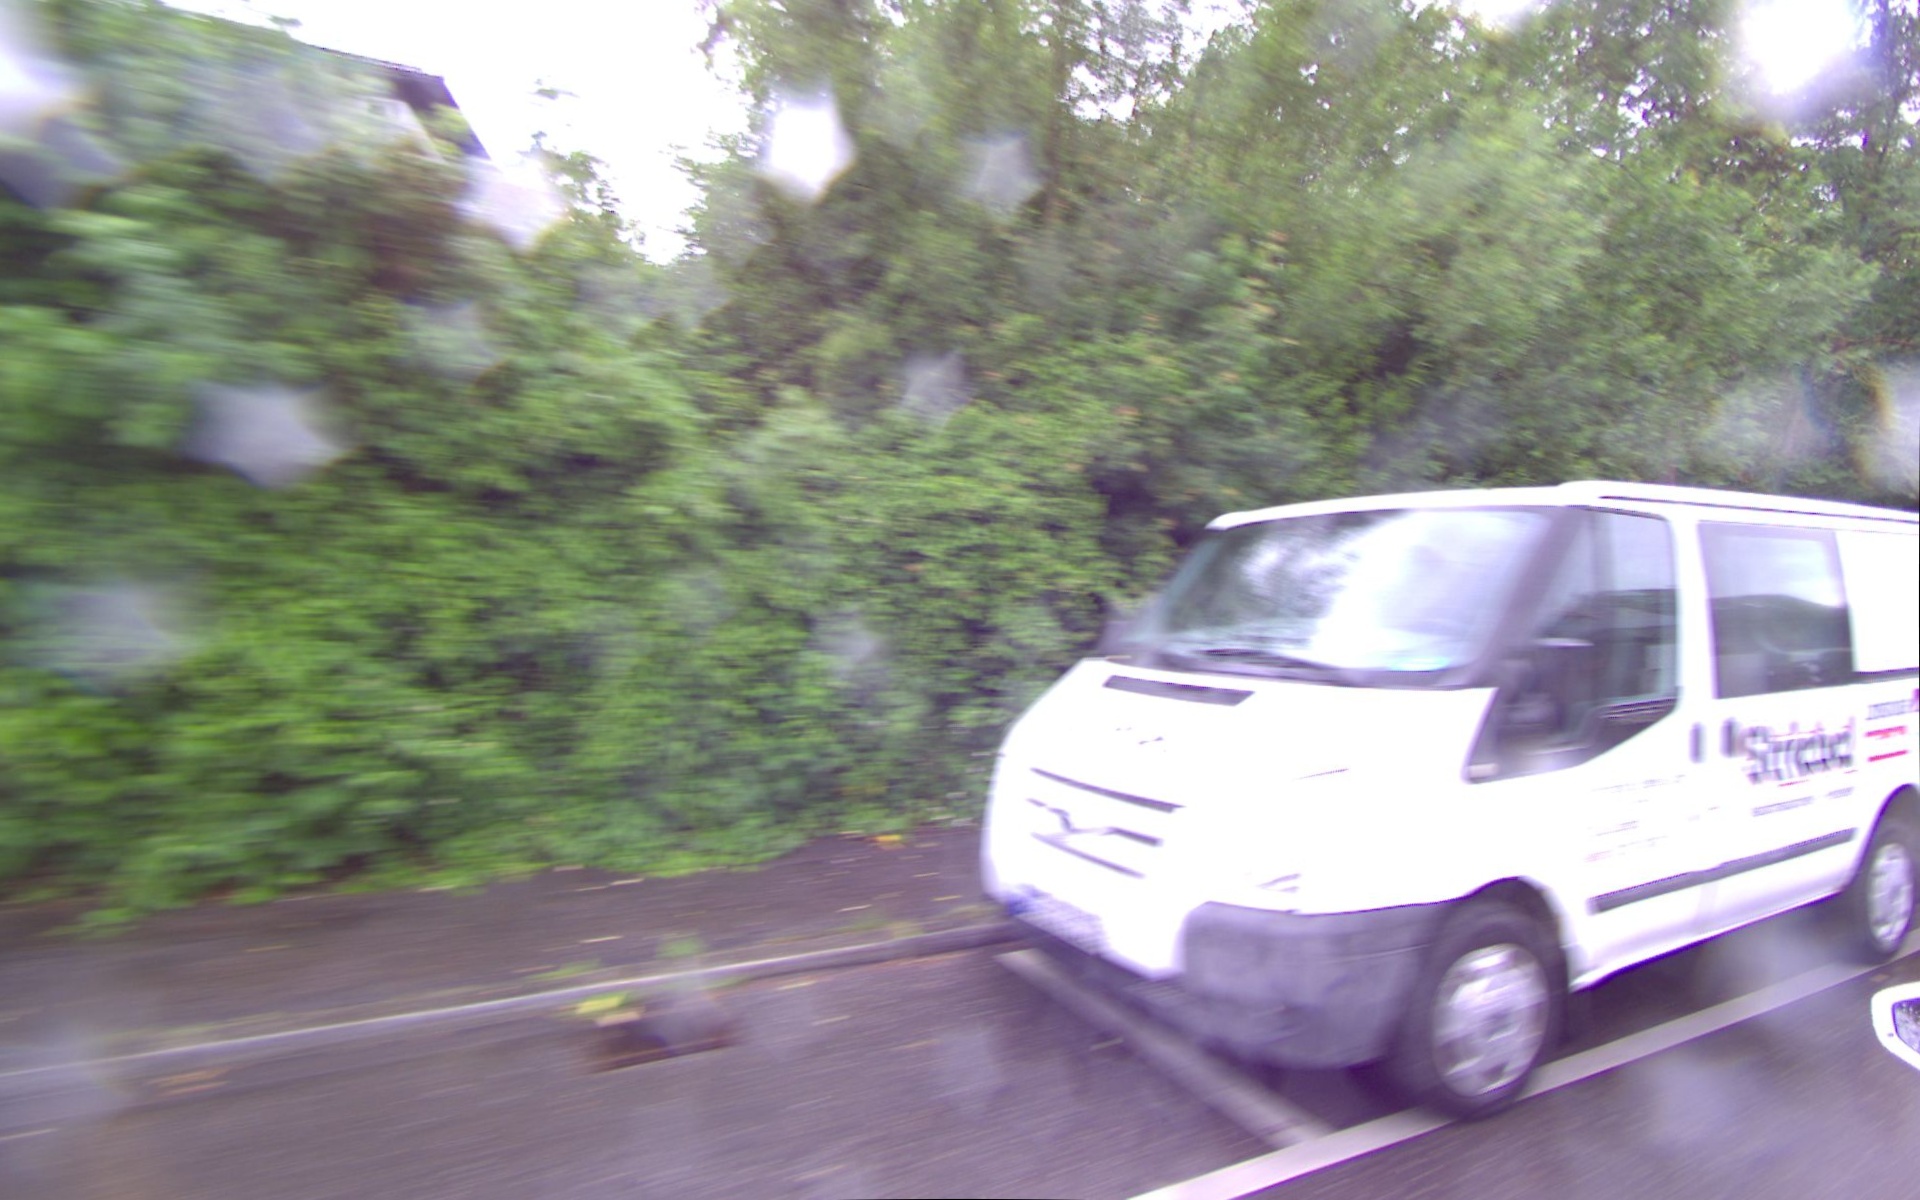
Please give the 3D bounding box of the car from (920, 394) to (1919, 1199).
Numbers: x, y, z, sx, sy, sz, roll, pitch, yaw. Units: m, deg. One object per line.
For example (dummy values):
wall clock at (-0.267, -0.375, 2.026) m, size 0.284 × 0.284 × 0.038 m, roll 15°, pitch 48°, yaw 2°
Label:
car at (2.569, 0.556, 4.544) m, size 5.112 × 2.001 × 2.101 m, roll 1°, pitch 0°, yaw -31°
